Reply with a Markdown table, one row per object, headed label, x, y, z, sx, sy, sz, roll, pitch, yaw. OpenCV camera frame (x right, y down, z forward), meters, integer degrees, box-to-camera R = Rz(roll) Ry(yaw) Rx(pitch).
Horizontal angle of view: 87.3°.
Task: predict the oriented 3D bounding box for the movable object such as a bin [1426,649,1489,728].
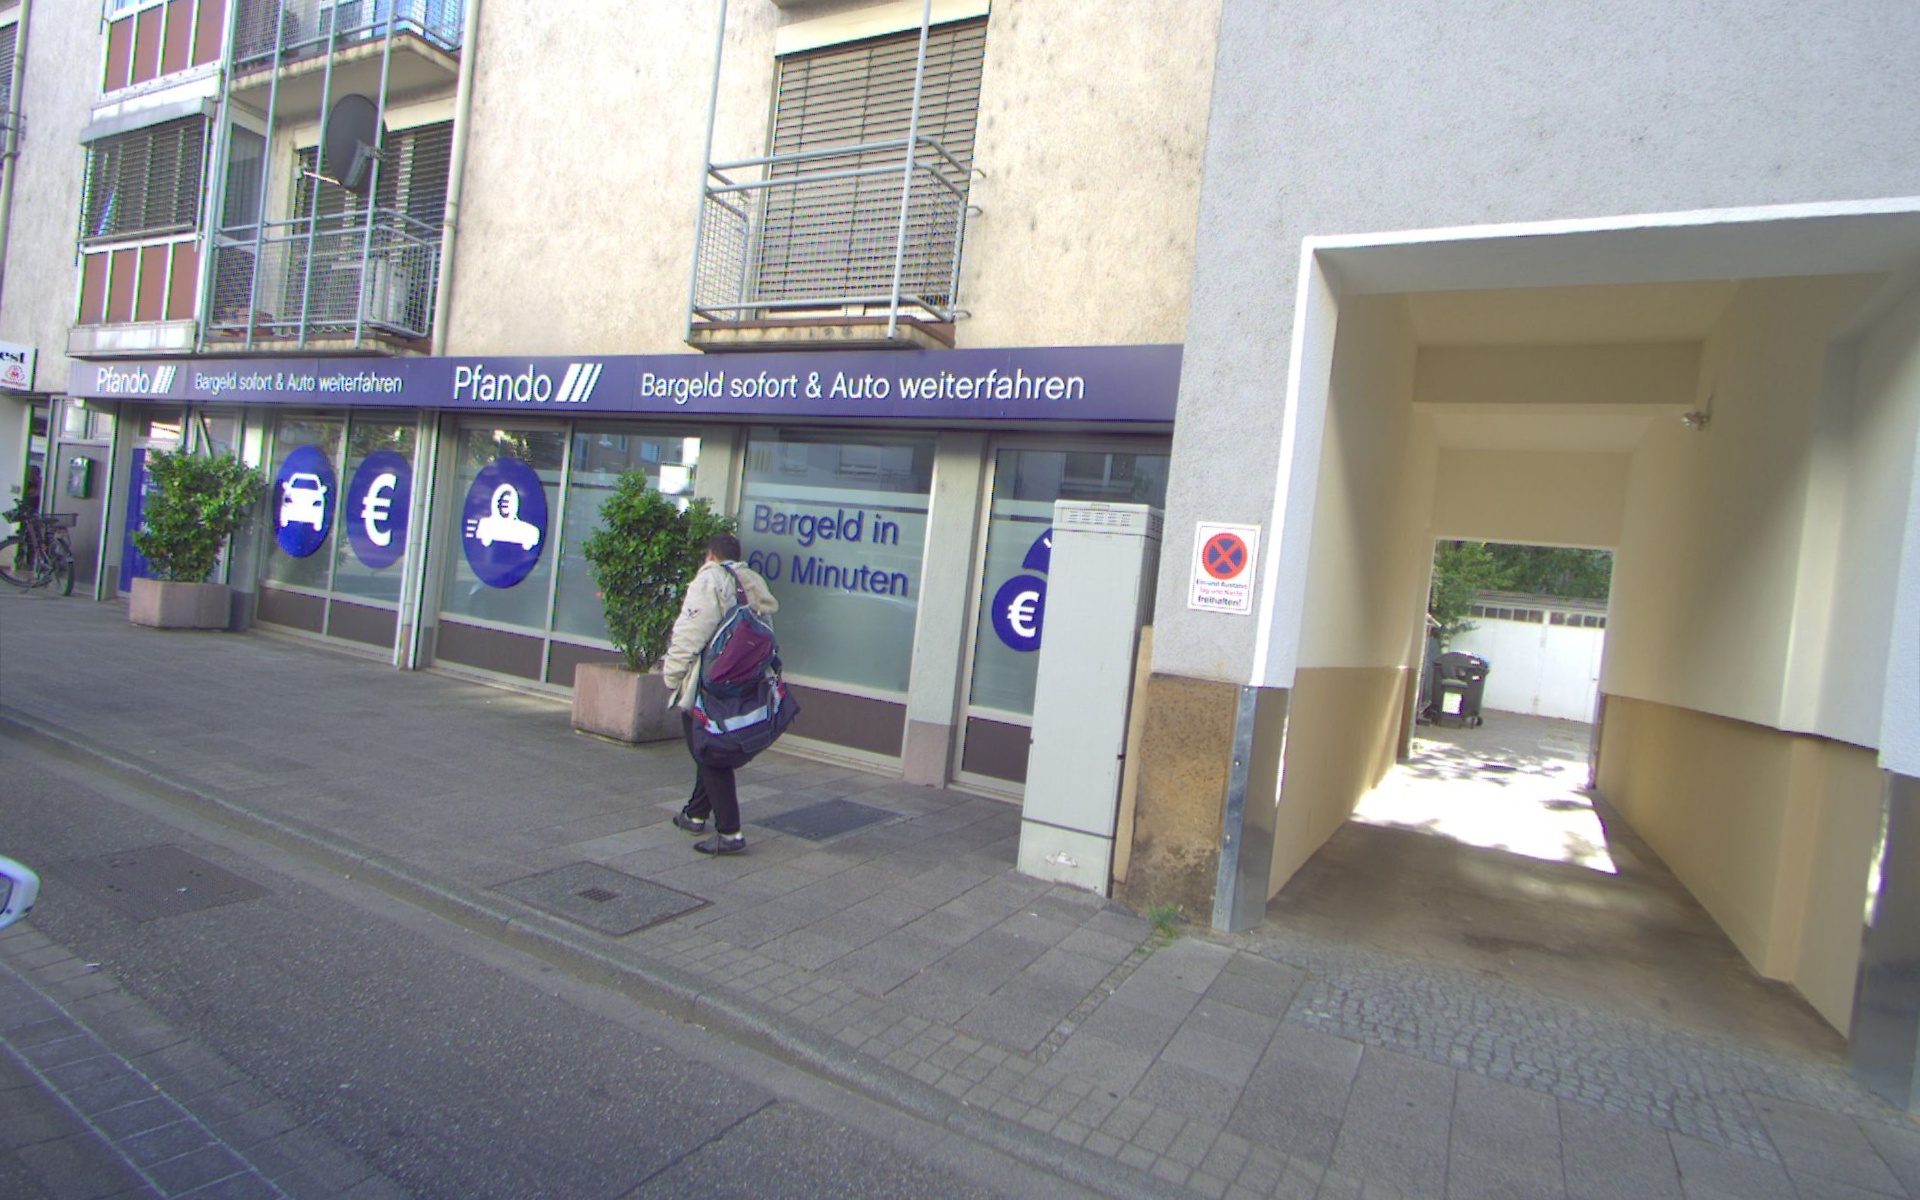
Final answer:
| label | x | y | z | sx | sy | sz | roll | pitch | yaw |
| --- | --- | --- | --- | --- | --- | --- | --- | --- | --- |
| movable object such as a bin | 10.127 | 1.783 | 20.452 | 0.945 | 1.426 | 1.598 | 7 | 1 | 29 |

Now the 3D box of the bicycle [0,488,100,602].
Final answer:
| label | x | y | z | sx | sy | sz | roll | pitch | yaw |
| --- | --- | --- | --- | --- | --- | --- | --- | --- | --- |
| bicycle | -11.829 | -0.728 | 12.874 | 1.879 | 1.280 | 0.640 | 7 | 1 | 32 |

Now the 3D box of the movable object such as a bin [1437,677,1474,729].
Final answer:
| label | x | y | z | sx | sy | sz | roll | pitch | yaw |
| --- | --- | --- | --- | --- | --- | --- | --- | --- | --- |
| movable object such as a bin | 9.575 | 1.976 | 19.449 | 0.518 | 0.922 | 0.580 | 7 | 1 | 29 |

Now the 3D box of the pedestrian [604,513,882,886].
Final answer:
| label | x | y | z | sx | sy | sz | roll | pitch | yaw |
| --- | --- | --- | --- | --- | --- | --- | --- | --- | --- |
| pedestrian | -1.061 | 0.438 | 5.005 | 0.853 | 1.593 | 0.874 | 8 | 3 | 29 |
